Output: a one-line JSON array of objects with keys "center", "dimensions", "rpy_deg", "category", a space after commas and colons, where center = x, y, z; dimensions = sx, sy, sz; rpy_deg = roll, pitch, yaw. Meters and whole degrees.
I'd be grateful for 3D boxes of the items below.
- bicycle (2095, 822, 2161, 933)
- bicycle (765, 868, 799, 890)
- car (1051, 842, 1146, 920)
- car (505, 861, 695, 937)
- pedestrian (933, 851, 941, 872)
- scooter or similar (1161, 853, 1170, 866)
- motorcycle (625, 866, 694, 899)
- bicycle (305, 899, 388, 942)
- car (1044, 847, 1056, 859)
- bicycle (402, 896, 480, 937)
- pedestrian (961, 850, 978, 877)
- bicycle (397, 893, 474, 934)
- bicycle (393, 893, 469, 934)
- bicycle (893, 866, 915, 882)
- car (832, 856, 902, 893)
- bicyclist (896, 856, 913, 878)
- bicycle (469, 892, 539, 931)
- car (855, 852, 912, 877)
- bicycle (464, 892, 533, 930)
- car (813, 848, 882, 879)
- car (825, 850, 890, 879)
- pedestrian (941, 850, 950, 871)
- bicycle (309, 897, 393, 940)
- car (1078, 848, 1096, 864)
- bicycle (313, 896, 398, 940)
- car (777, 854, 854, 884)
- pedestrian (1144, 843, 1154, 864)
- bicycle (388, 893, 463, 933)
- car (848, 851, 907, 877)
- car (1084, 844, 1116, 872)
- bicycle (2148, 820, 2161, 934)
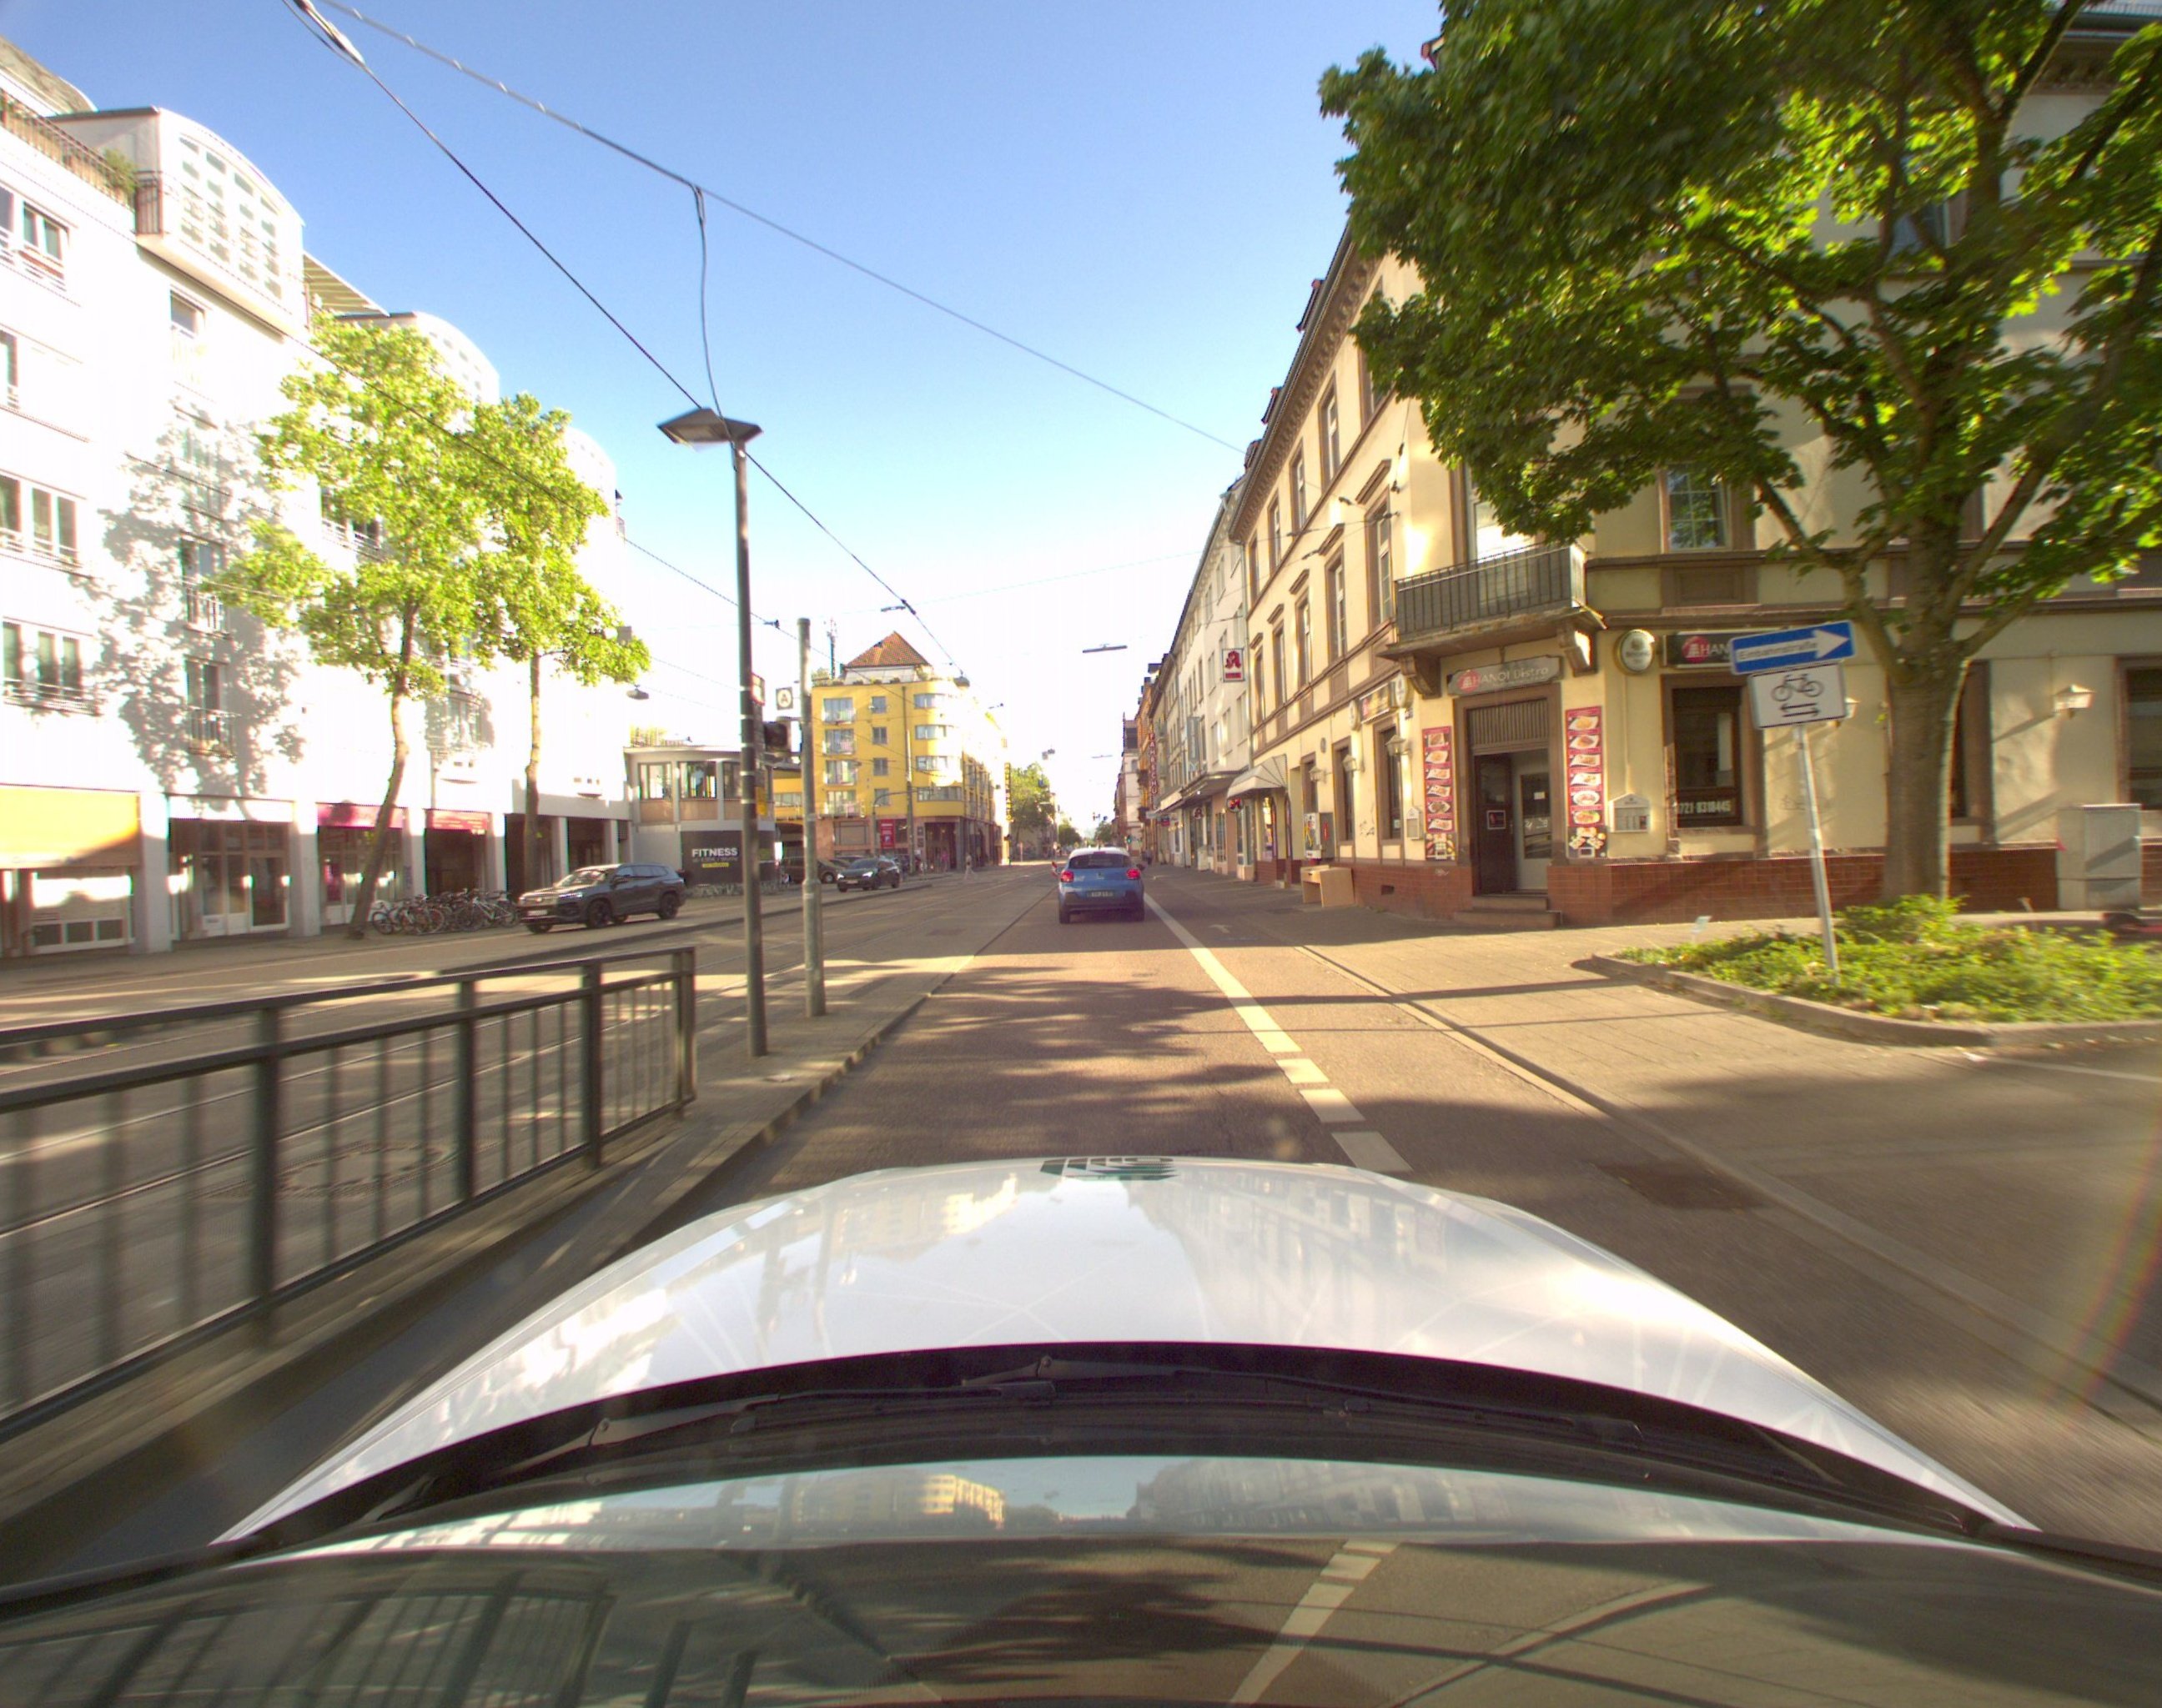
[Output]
[{"center": [11.474, 0.245, 8.163], "dimensions": [1.573, 1.123, 0.349], "rpy_deg": [1, 4, 35], "category": "bicycle"}, {"center": [-15.601, 1.302, 42.551], "dimensions": [0.677, 1.002, 2.688], "rpy_deg": [-2, 0, 3], "category": "bicycle"}, {"center": [0.386, 0.497, 17.265], "dimensions": [1.774, 1.451, 3.655], "rpy_deg": [-1, 0, 2], "category": "car"}, {"center": [-12.613, 1.103, 21.807], "dimensions": [1.744, 1.615, 4.836], "rpy_deg": [-4, 0, 6], "category": "car"}, {"center": [-13.013, 0.650, 73.647], "dimensions": [0.695, 1.830, 0.837], "rpy_deg": [-2, 0, -11], "category": "pedestrian"}, {"center": [6.250, 0.390, 60.133], "dimensions": [0.510, 0.959, 1.853], "rpy_deg": [-2, 0, 3], "category": "scooter or similar"}, {"center": [-18.006, 1.192, 34.820], "dimensions": [2.506, 1.288, 0.668], "rpy_deg": [-2, 0, -2], "category": "motorcycle"}, {"center": [-18.715, 1.671, 20.771], "dimensions": [0.387, 0.941, 1.505], "rpy_deg": [-2, 0, 37], "category": "bicycle"}, {"center": [-5.307, -0.171, 140.377], "dimensions": [1.987, 2.014, 3.999], "rpy_deg": [-1, -1, 0], "category": "car"}, {"center": [-16.616, 1.609, 21.171], "dimensions": [0.387, 0.941, 1.505], "rpy_deg": [-2, 0, 37], "category": "bicycle"}, {"center": [-7.093, 0.618, 51.959], "dimensions": [0.842, 1.654, 0.691], "rpy_deg": [-2, 0, -27], "category": "pedestrian"}, {"center": [-16.963, 1.545, 21.429], "dimensions": [0.387, 0.941, 1.505], "rpy_deg": [-2, 0, 37], "category": "bicycle"}, {"center": [-17.290, 1.564, 21.682], "dimensions": [0.387, 0.941, 1.505], "rpy_deg": [-2, 0, 37], "category": "bicycle"}, {"center": [-10.908, 1.222, 50.212], "dimensions": [0.677, 0.827, 2.578], "rpy_deg": [-2, 0, 3], "category": "bicycle"}, {"center": [-10.067, 0.924, 38.593], "dimensions": [1.942, 1.486, 4.005], "rpy_deg": [-4, 0, 4], "category": "car"}, {"center": [-10.903, 0.796, 50.267], "dimensions": [0.727, 1.291, 1.181], "rpy_deg": [-2, 0, 2], "category": "bicyclist"}, {"center": [-16.047, 1.583, 22.686], "dimensions": [0.387, 0.941, 1.505], "rpy_deg": [-2, 0, 37], "category": "bicycle"}, {"center": [-15.634, 0.819, 64.701], "dimensions": [3.977, 1.848, 1.956], "rpy_deg": [-2, 0, -2], "category": "car"}, {"center": [-16.406, 1.590, 22.967], "dimensions": [0.387, 0.941, 1.505], "rpy_deg": [-2, 0, 37], "category": "bicycle"}, {"center": [-15.504, 0.615, 54.271], "dimensions": [3.977, 1.848, 1.956], "rpy_deg": [-2, 0, -2], "category": "car"}, {"center": [-15.649, 0.747, 57.074], "dimensions": [3.977, 1.848, 1.956], "rpy_deg": [-2, 0, -2], "category": "car"}, {"center": [-12.264, 0.553, 73.760], "dimensions": [0.695, 1.858, 0.837], "rpy_deg": [-2, 0, -11], "category": "pedestrian"}, {"center": [-18.357, 1.599, 20.497], "dimensions": [0.387, 0.941, 1.505], "rpy_deg": [-2, 0, 37], "category": "bicycle"}, {"center": [0.693, 0.244, 91.340], "dimensions": [1.986, 1.743, 4.001], "rpy_deg": [-1, -1, 1], "category": "car"}, {"center": [-17.995, 1.571, 20.232], "dimensions": [0.387, 0.941, 1.505], "rpy_deg": [-2, 0, 37], "category": "bicycle"}, {"center": [-15.967, 0.885, 49.160], "dimensions": [3.977, 1.674, 1.956], "rpy_deg": [-2, 0, -2], "category": "car"}, {"center": [5.290, -0.035, 63.586], "dimensions": [0.691, 1.651, 0.680], "rpy_deg": [-2, 0, 0], "category": "pedestrian"}, {"center": [-17.628, 1.562, 21.931], "dimensions": [0.387, 0.941, 1.505], "rpy_deg": [-2, 0, 37], "category": "bicycle"}, {"center": [-15.366, 0.741, 61.633], "dimensions": [3.977, 1.848, 1.956], "rpy_deg": [-2, 0, -2], "category": "car"}, {"center": [1.237, 0.267, 52.114], "dimensions": [1.986, 1.743, 4.001], "rpy_deg": [-1, -1, 1], "category": "car"}, {"center": [11.431, 0.242, 7.688], "dimensions": [1.573, 1.123, 0.349], "rpy_deg": [1, 4, 35], "category": "bicycle"}]
